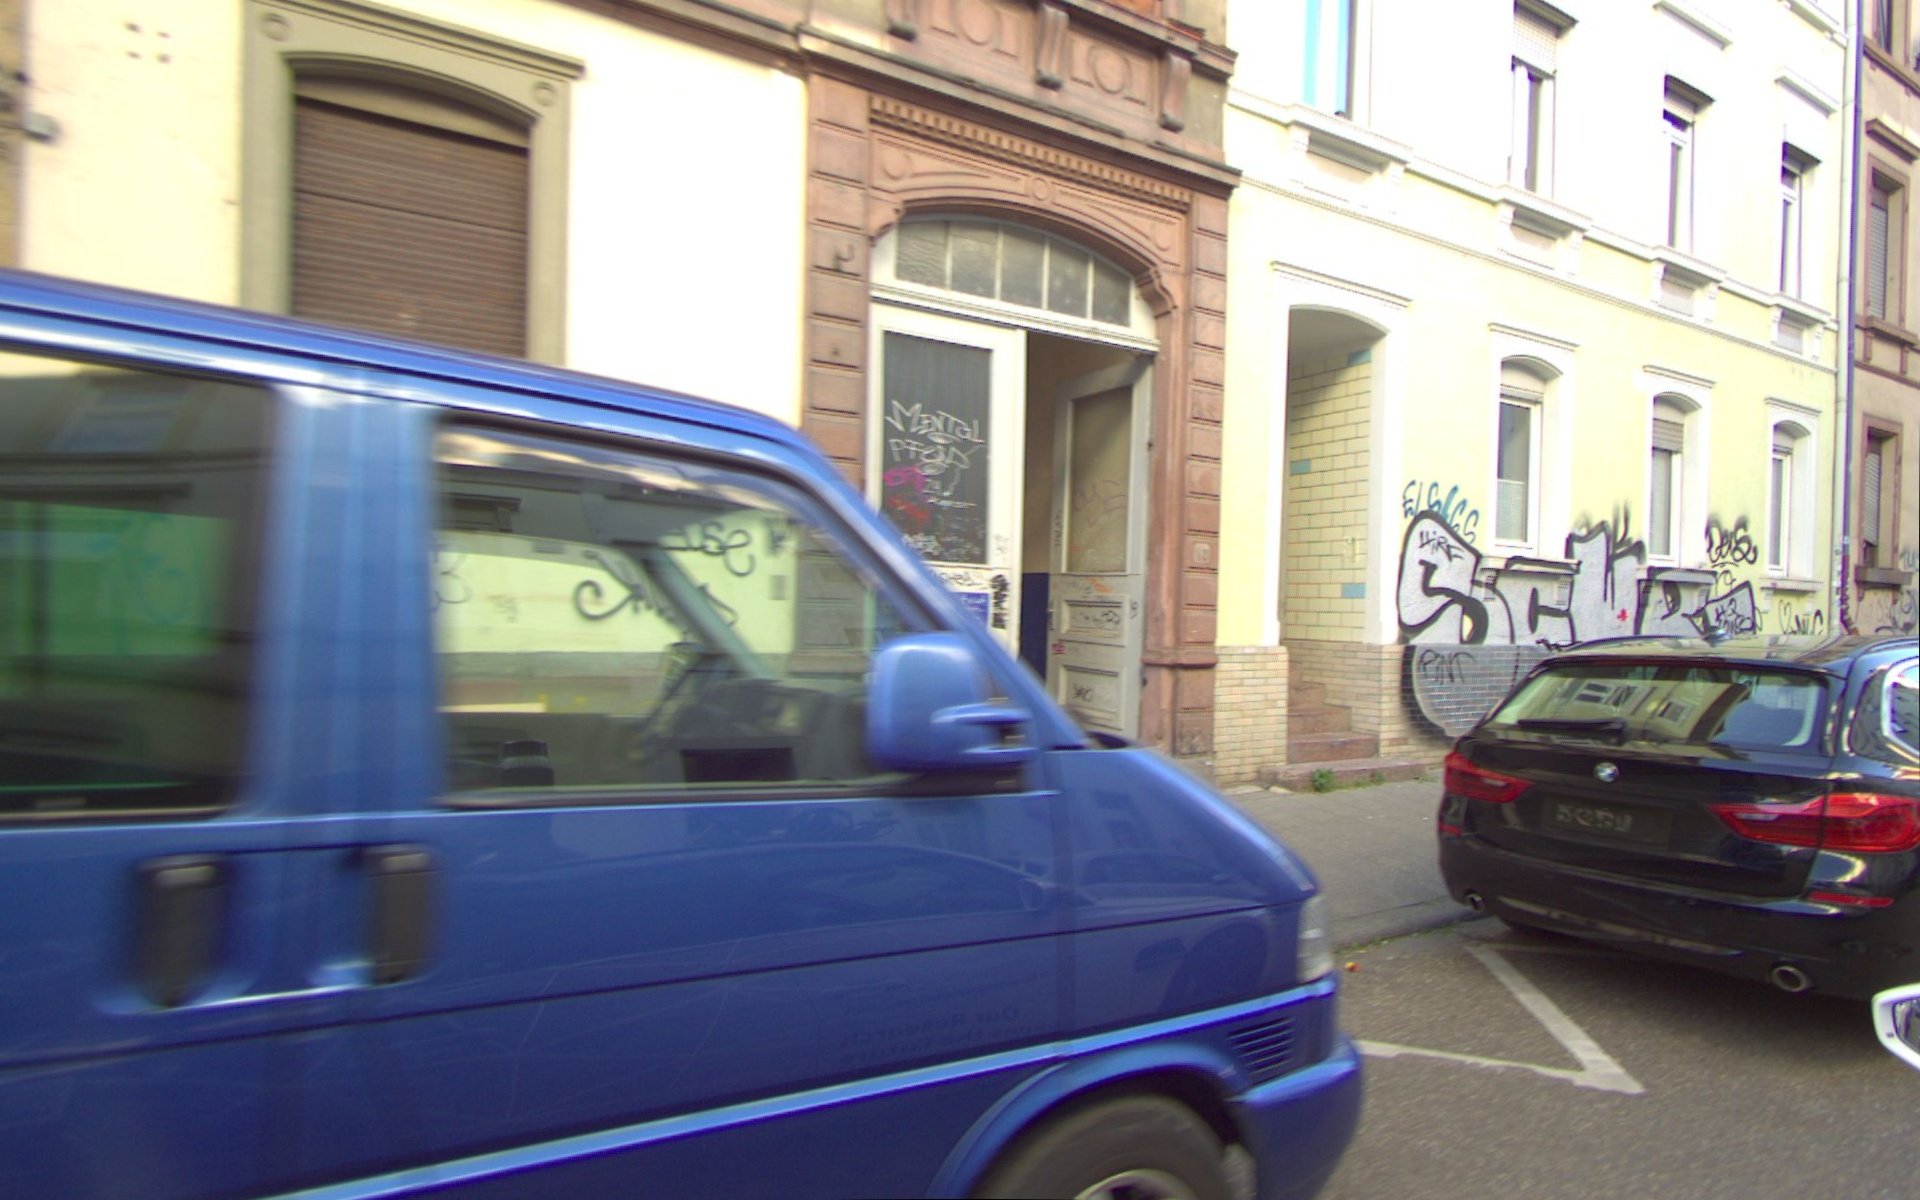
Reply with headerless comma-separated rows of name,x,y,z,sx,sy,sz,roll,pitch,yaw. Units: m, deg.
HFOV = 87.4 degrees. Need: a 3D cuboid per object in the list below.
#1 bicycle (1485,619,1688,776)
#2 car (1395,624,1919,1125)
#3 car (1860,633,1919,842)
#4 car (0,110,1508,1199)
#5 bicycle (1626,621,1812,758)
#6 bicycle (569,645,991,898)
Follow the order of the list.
bicycle,5.750,0.838,9.186,2.062,1.288,0.670,1,0,-30
car,4.393,0.873,4.976,4.593,1.459,1.852,1,0,-32
car,8.683,1.002,7.549,3.953,1.446,1.728,1,-1,-30
car,-1.256,0.523,1.797,4.559,1.916,1.819,1,-3,-30
bicycle,7.941,0.888,10.474,2.300,1.262,0.664,1,3,-31
bicycle,-0.907,0.793,5.225,2.004,1.035,0.751,1,4,-29
